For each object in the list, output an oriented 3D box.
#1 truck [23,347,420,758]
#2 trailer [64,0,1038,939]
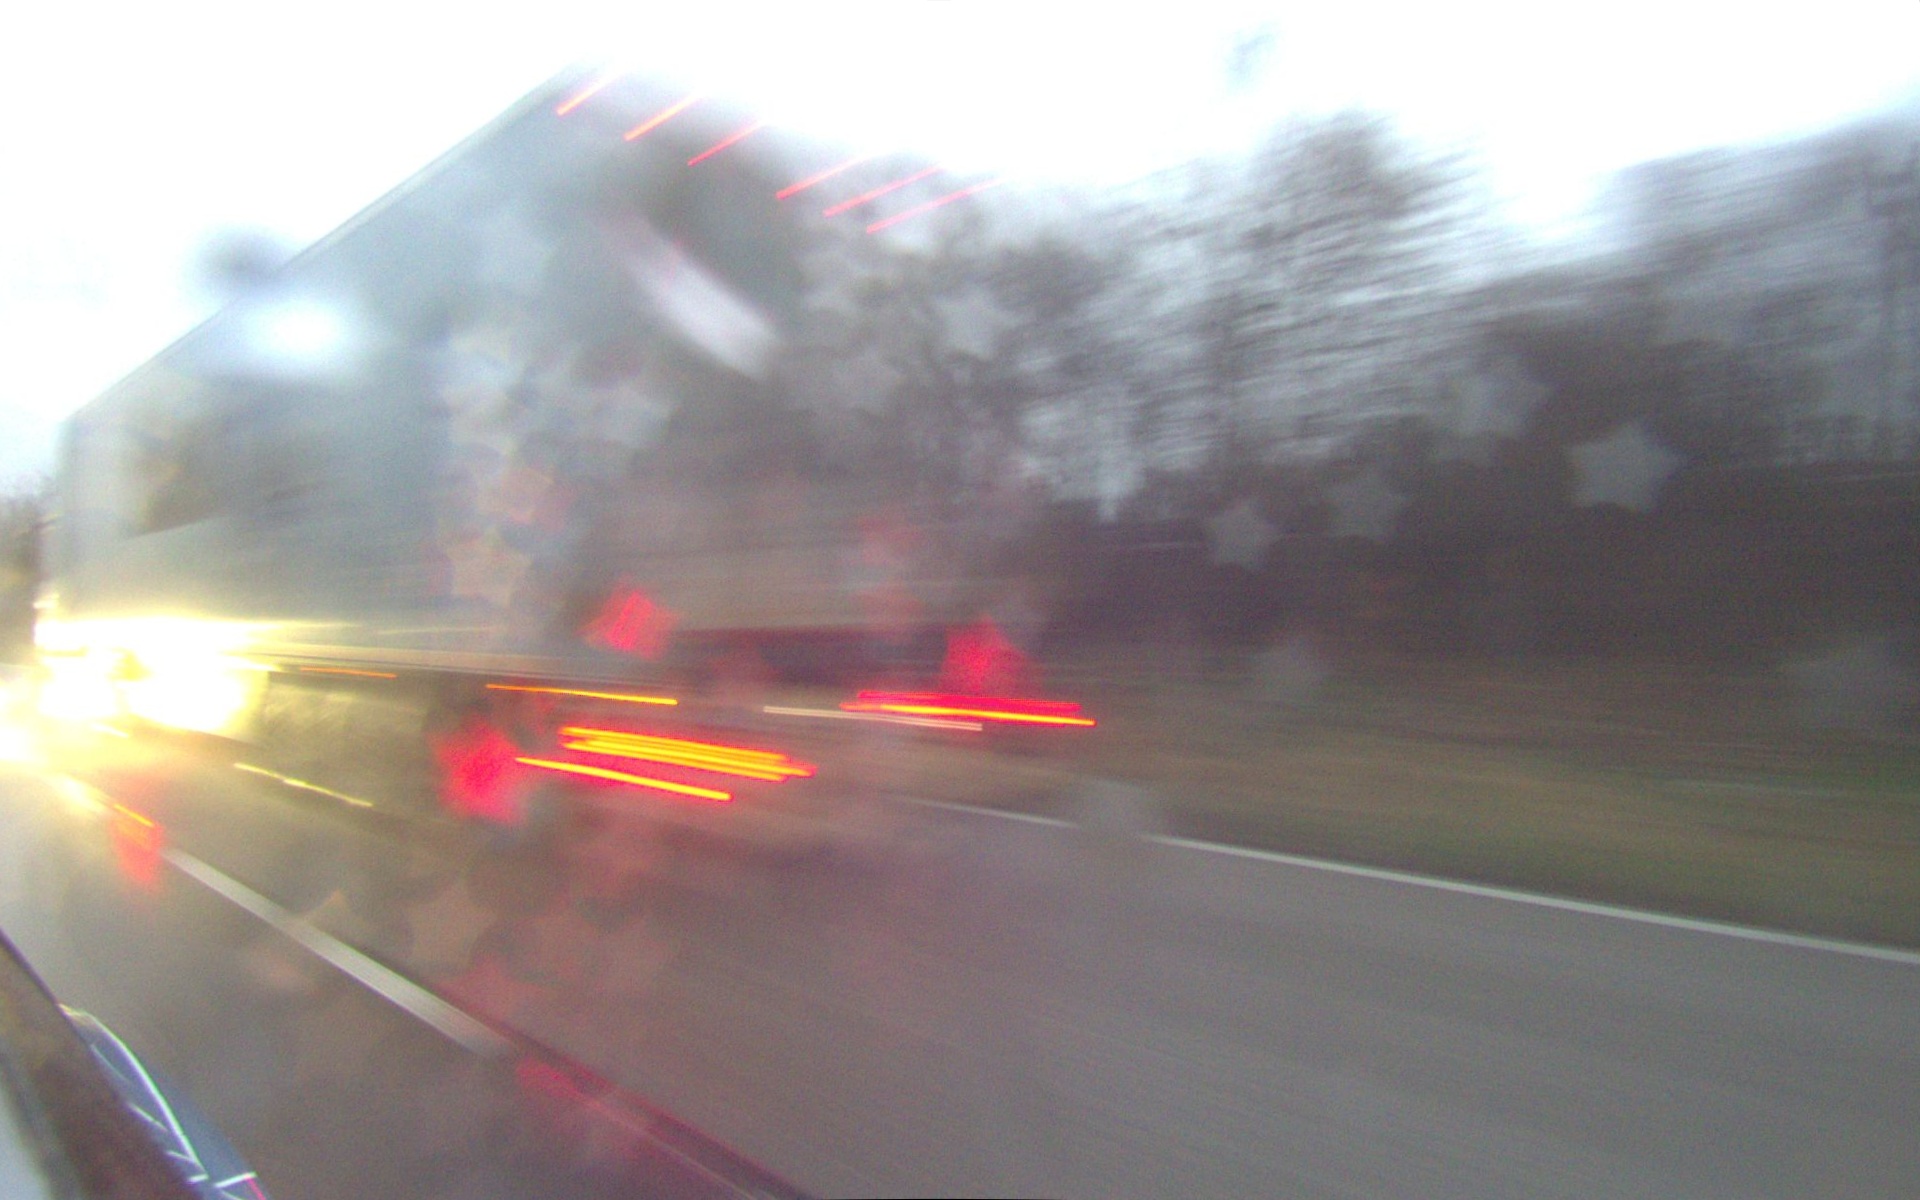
[{"bbox_3d":[-10.209,-0.390,13.652,7.195,4.158,2.770,-2,-2,41],"label":"truck"},{"bbox_3d":[-5.508,-0.530,9.612,13.509,4.120,2.749,-2,-2,41],"label":"trailer"}]
